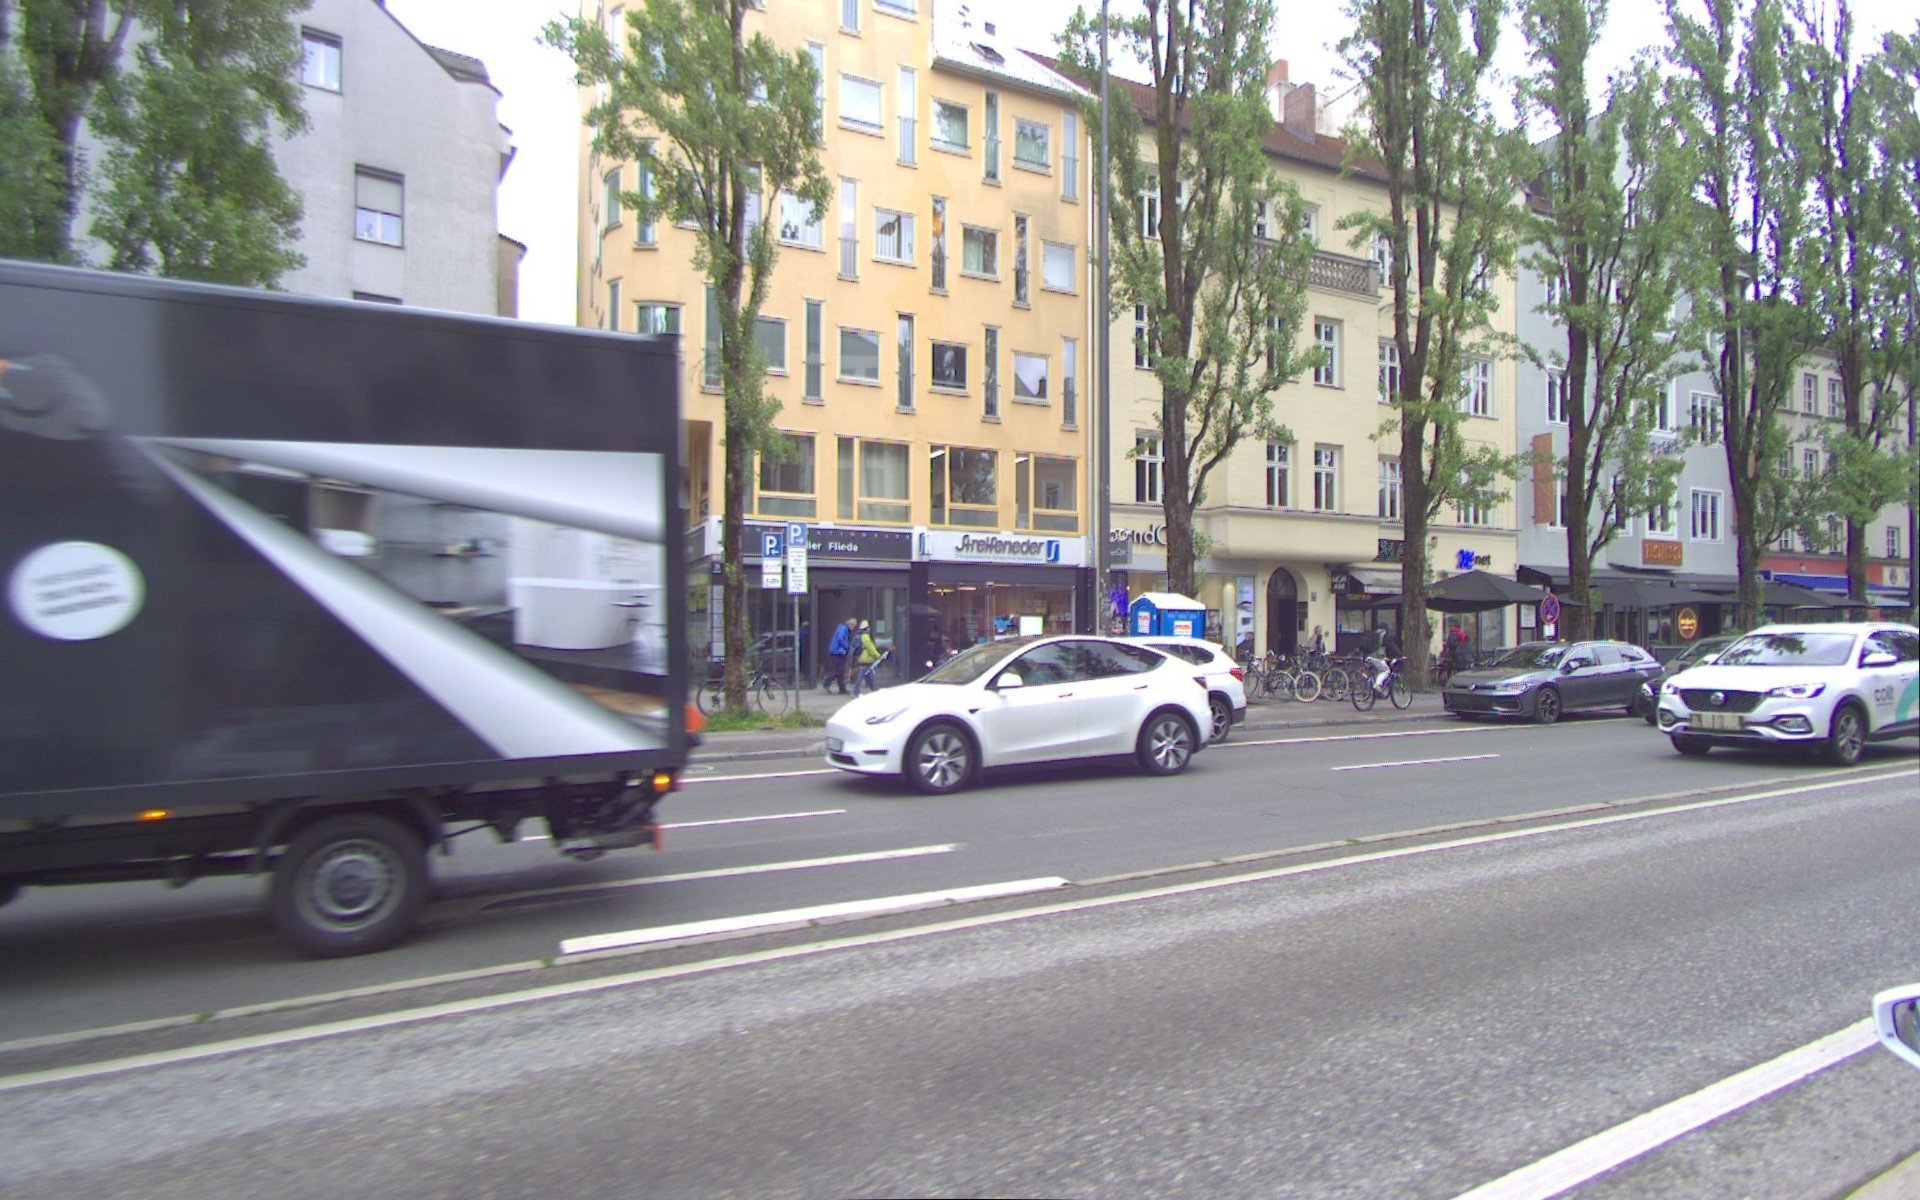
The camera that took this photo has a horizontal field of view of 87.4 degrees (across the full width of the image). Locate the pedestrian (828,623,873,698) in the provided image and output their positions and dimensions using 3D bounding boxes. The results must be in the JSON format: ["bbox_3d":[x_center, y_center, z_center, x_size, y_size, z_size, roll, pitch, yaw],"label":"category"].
[{"bbox_3d":[-2.497,1.367,22.837,0.753,1.647,0.836,1,-1,-27],"label":"pedestrian"}]

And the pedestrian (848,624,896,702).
[{"bbox_3d":[-1.938,1.369,22.100,0.753,1.647,0.836,1,-1,-27],"label":"pedestrian"}]

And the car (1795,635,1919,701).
[{"bbox_3d":[23.117,1.635,24.949,4.260,1.502,1.989,0,-3,-25],"label":"car"}]

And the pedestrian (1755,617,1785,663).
[{"bbox_3d":[30.849,1.522,38.255,0.639,1.722,0.636,0,-2,-25],"label":"pedestrian"}]

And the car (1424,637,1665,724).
[{"bbox_3d":[11.286,1.483,19.403,4.236,1.513,1.934,1,-2,-25],"label":"car"}]

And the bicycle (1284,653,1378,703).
[{"bbox_3d":[8.331,1.729,22.646,0.617,1.055,1.995,1,-3,-35],"label":"bicycle"}]

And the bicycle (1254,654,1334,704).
[{"bbox_3d":[7.399,1.729,22.318,0.617,1.055,1.627,1,-3,-35],"label":"bicycle"}]

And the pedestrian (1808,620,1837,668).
[{"bbox_3d":[34.943,1.778,40.704,0.639,1.886,0.636,0,-2,-25],"label":"pedestrian"}]

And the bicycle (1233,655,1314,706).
[{"bbox_3d":[6.823,1.737,21.925,0.617,1.055,1.627,1,-3,-35],"label":"bicycle"}]

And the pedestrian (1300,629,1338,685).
[{"bbox_3d":[10.451,1.647,29.244,0.804,1.582,0.632,0,-1,-24],"label":"pedestrian"}]

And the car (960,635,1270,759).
[{"bbox_3d":[2.361,1.374,15.363,4.320,1.650,1.989,1,-2,-24],"label":"car"}]

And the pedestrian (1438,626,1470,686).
[{"bbox_3d":[14.796,1.654,30.094,0.745,1.770,0.537,0,-1,-25],"label":"pedestrian"}]

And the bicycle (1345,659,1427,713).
[{"bbox_3d":[8.640,1.726,20.353,1.744,1.020,0.507,1,-2,-27],"label":"bicycle"}]

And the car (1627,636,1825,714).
[{"bbox_3d":[16.726,1.579,21.931,3.945,1.539,1.800,1,-2,-25],"label":"car"}]

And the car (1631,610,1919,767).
[{"bbox_3d":[10.977,1.036,12.921,4.475,1.733,1.855,0,-3,-26],"label":"car"}]

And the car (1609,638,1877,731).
[{"bbox_3d":[13.957,1.421,17.896,4.476,1.453,1.934,1,-2,-25],"label":"car"}]

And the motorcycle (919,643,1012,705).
[{"bbox_3d":[0.082,1.395,19.258,0.483,1.050,2.034,2,-1,-45],"label":"motorcycle"}]

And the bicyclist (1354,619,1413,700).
[{"bbox_3d":[8.567,1.191,20.337,1.092,1.601,0.494,0,-2,-26],"label":"bicyclist"}]

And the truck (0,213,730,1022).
[{"bbox_3d":[-4.923,0.101,4.993,7.063,3.366,2.284,1,-3,-27],"label":"truck"}]

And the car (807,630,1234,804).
[{"bbox_3d":[0.713,1.208,11.658,4.574,1.672,1.988,1,-3,-26],"label":"car"}]

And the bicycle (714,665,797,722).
[{"bbox_3d":[-3.735,1.695,18.388,1.458,0.988,0.292,1,-2,-25],"label":"bicycle"}]

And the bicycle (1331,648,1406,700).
[{"bbox_3d":[9.428,1.688,23.296,0.496,1.115,2.128,0,-2,-12],"label":"bicycle"}]
